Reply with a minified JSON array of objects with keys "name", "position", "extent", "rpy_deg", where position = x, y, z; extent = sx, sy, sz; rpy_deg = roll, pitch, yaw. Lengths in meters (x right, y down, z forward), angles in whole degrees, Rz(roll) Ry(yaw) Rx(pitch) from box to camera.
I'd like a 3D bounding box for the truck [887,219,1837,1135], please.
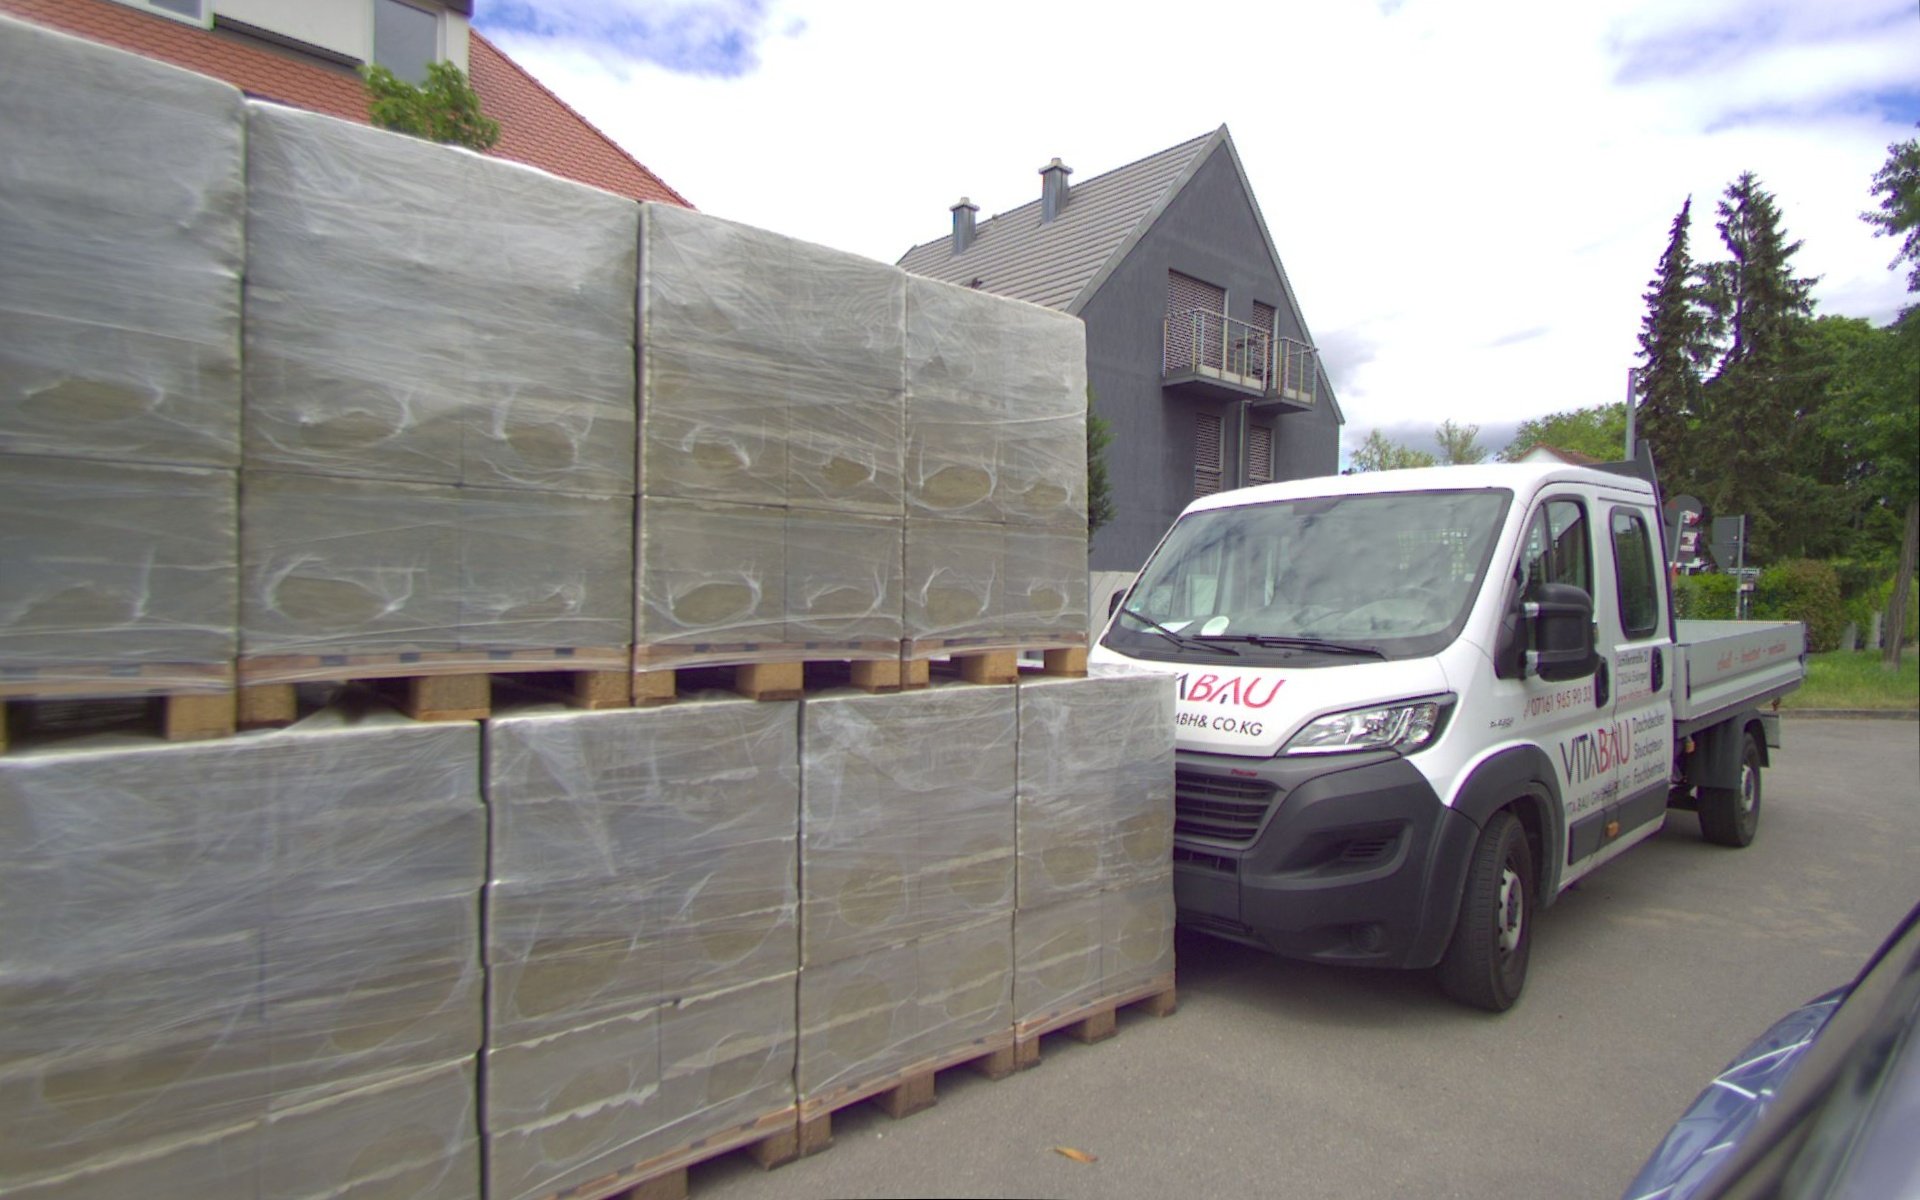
[{"name":"truck","position":[3.135,0.206,6.017],"extent":[7.301,2.503,2.191],"rpy_deg":[0,0,-41]}]
